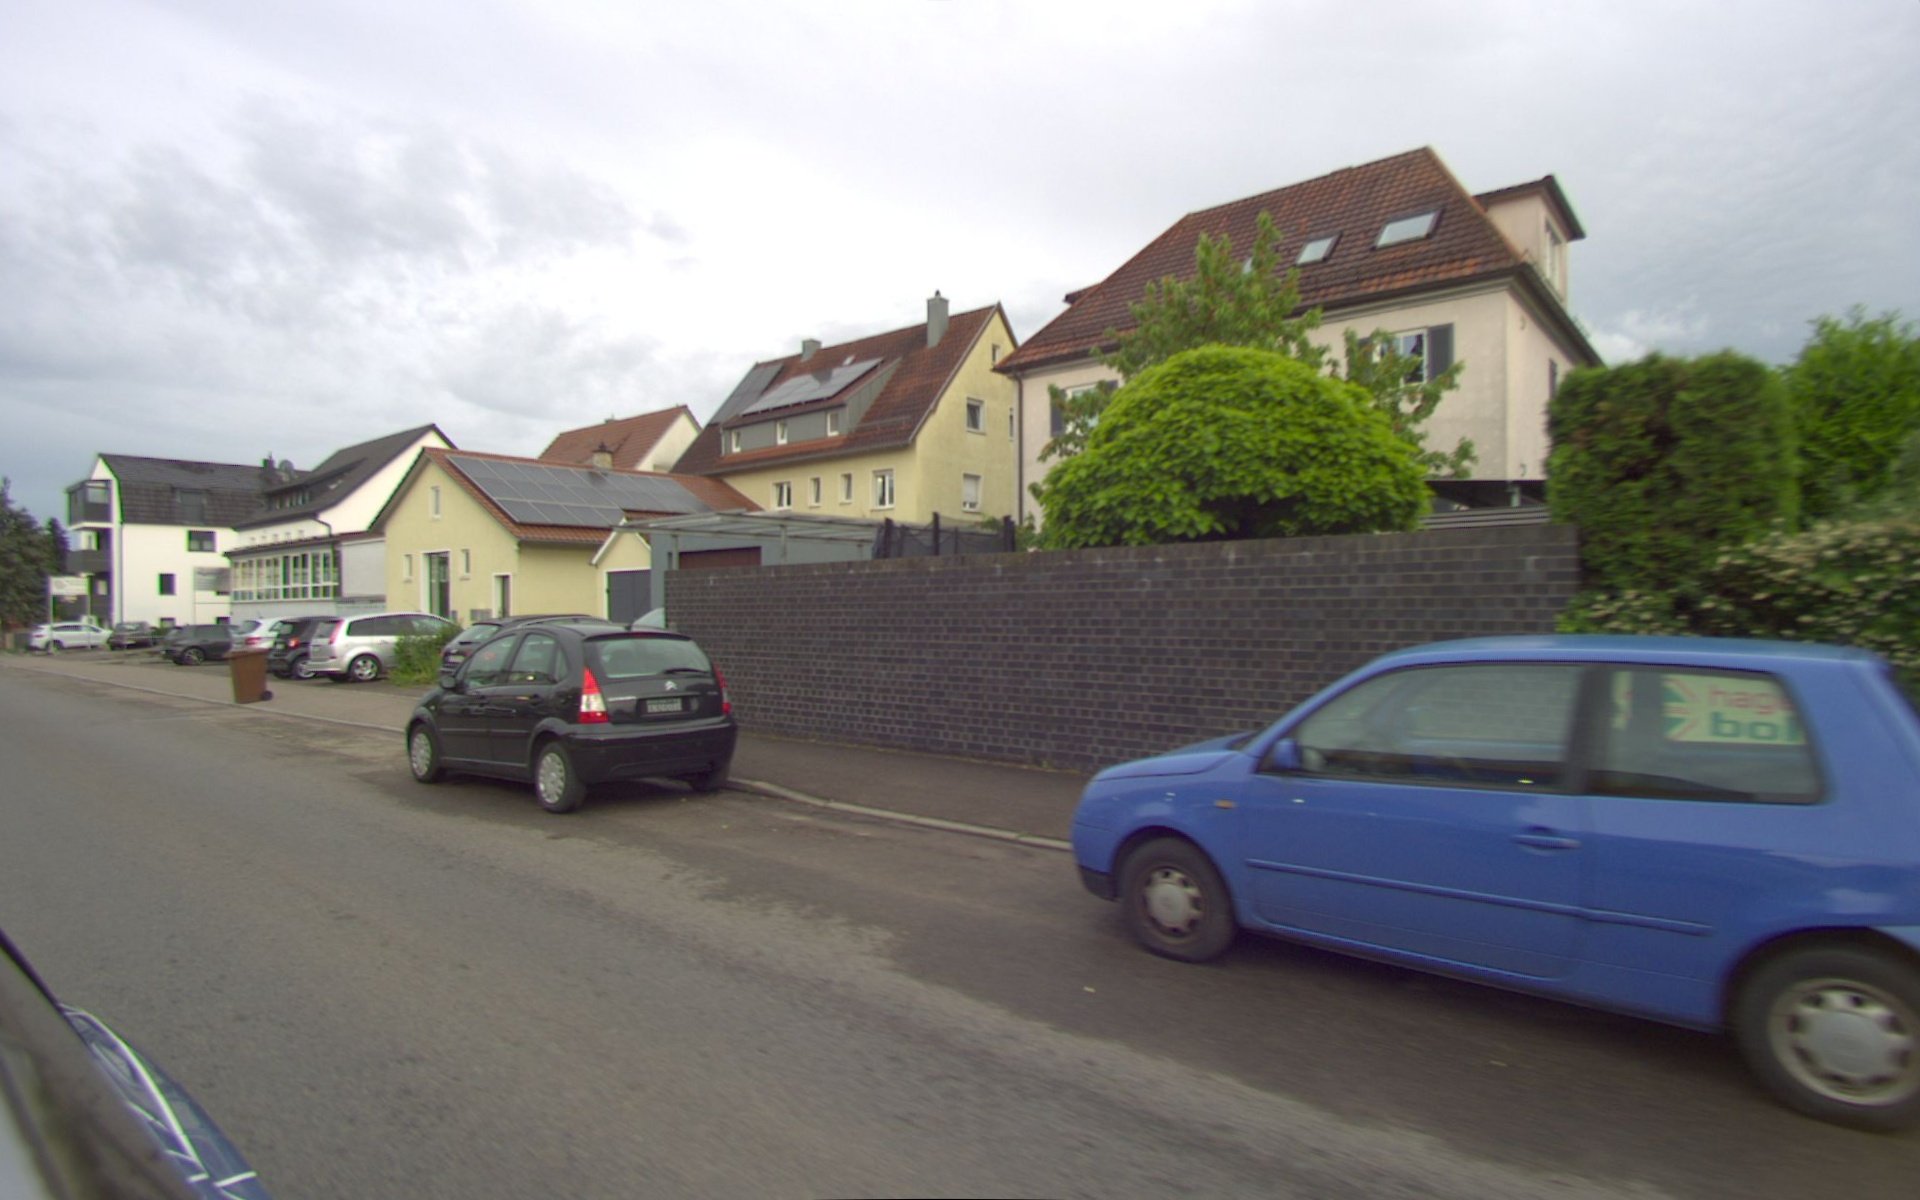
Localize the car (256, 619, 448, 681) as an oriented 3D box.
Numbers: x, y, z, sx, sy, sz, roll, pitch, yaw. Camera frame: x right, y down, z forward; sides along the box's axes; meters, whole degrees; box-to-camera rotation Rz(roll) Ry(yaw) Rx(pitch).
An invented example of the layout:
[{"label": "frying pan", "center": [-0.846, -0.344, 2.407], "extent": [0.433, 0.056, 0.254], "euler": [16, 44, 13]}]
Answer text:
[{"label": "car", "center": [-16.093, 1.286, 26.979], "extent": [1.752, 1.515, 4.048], "euler": [-2, -2, 35]}]

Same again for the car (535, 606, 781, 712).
[{"label": "car", "center": [-4.866, 0.888, 16.689], "extent": [1.753, 1.468, 3.553], "euler": [-2, 0, 36]}]

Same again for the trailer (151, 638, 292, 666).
[{"label": "trailer", "center": [-28.716, 2.005, 39.456], "extent": [1.792, 0.950, 4.156], "euler": [-2, -2, 38]}]

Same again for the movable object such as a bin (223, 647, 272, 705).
[{"label": "movable object such as a bin", "center": [-14.193, 1.512, 20.160], "extent": [0.686, 1.065, 0.590], "euler": [-4, 1, 41]}]

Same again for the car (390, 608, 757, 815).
[{"label": "car", "center": [-3.653, 0.890, 9.279], "extent": [3.705, 1.518, 1.592], "euler": [-2, -3, 41]}]

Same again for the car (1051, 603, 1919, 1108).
[{"label": "car", "center": [2.279, 0.769, 4.238], "extent": [3.595, 1.414, 1.529], "euler": [-2, -3, 41]}]

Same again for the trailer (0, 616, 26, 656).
[{"label": "trailer", "center": [-76.377, 2.869, 79.655], "extent": [2.167, 3.069, 4.006], "euler": [-2, -1, 41]}]

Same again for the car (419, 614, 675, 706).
[{"label": "car", "center": [-7.455, 1.028, 18.604], "extent": [1.711, 1.424, 4.045], "euler": [-2, -1, 38]}]

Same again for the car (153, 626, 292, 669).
[{"label": "car", "center": [-27.013, 1.711, 37.165], "extent": [1.766, 1.449, 3.834], "euler": [-2, -3, 40]}]

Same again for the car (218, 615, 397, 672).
[{"label": "car", "center": [-19.331, 1.268, 30.122], "extent": [1.995, 1.544, 4.048], "euler": [-4, -3, 35]}]

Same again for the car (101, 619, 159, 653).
[{"label": "car", "center": [-44.560, 1.923, 54.329], "extent": [4.000, 1.541, 1.800], "euler": [-2, 4, 43]}]

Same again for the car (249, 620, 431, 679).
[{"label": "car", "center": [-17.505, 1.357, 28.729], "extent": [1.811, 1.544, 4.046], "euler": [-2, -2, 37]}]

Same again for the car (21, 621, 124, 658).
[{"label": "car", "center": [-49.327, 2.187, 56.301], "extent": [1.998, 1.659, 3.949], "euler": [-2, 2, 39]}]

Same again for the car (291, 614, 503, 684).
[{"label": "car", "center": [-13.394, 1.126, 24.265], "extent": [1.880, 1.525, 4.046], "euler": [-2, -2, 37]}]
